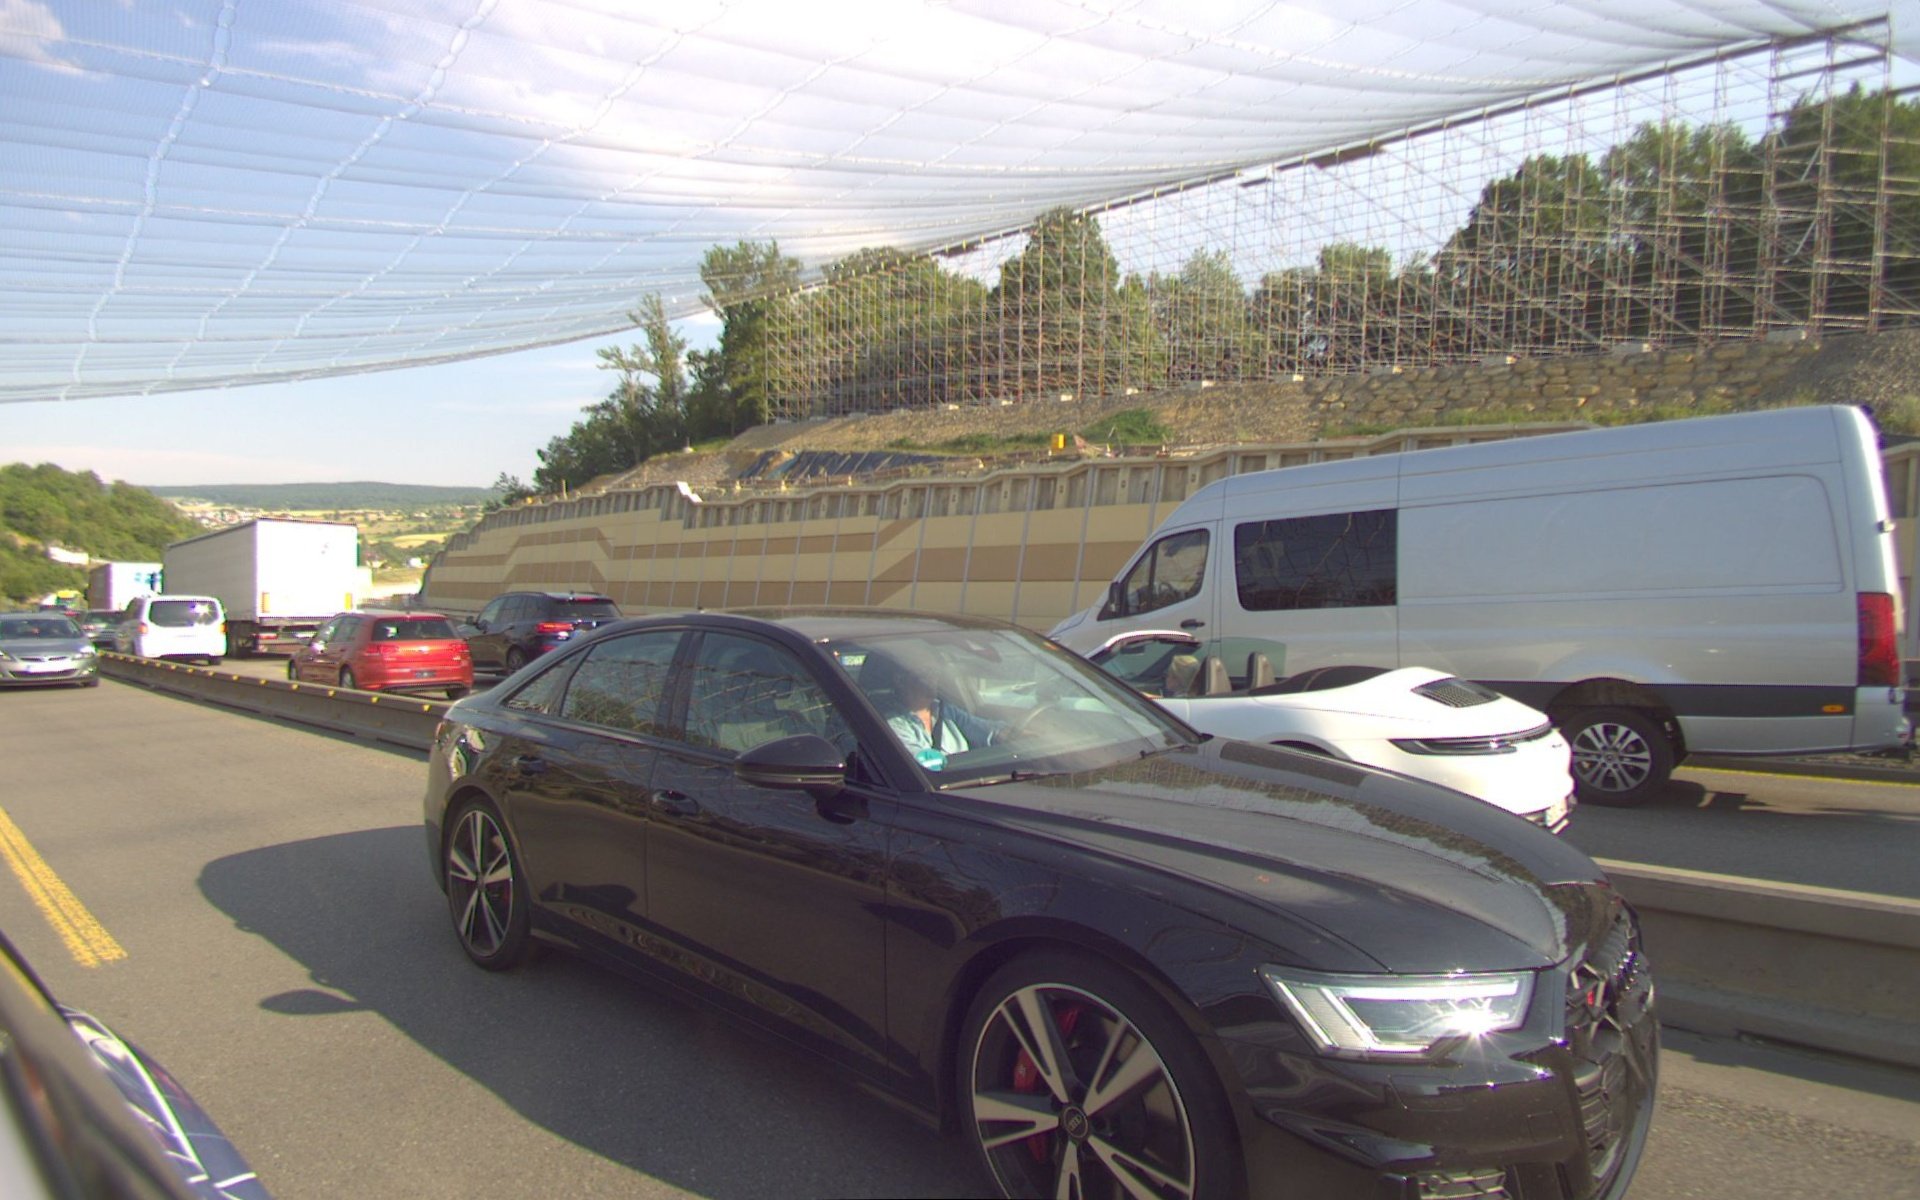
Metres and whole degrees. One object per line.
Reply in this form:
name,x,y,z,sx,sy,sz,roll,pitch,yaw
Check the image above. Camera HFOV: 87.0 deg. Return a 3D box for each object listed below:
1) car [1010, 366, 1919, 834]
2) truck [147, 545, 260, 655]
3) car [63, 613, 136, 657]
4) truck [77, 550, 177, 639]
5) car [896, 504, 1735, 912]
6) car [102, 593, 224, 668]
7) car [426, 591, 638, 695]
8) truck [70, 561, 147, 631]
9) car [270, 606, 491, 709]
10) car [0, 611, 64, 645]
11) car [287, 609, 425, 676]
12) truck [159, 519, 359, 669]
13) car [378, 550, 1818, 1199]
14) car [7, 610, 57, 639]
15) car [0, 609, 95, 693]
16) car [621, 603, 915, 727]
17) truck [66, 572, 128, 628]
car,3.910,0.020,8.830,7.077,2.733,2.218,-1,0,41
truck,-29.307,0.007,39.129,6.049,3.937,2.488,-1,0,43
car,-32.638,1.291,38.354,4.217,1.563,1.565,-1,0,42
truck,-49.236,-0.202,59.521,2.953,4.593,17.418,-1,0,-45
car,1.828,0.431,6.009,4.361,1.580,1.790,-1,0,39
car,-22.006,0.784,27.858,5.280,1.883,1.789,-1,0,42
car,-8.256,0.732,19.297,4.935,1.740,1.804,-1,0,42
truck,-62.563,-0.220,74.120,2.953,4.593,17.418,-1,0,-45
car,-9.544,0.843,16.511,4.516,1.430,1.789,-1,0,42
car,-44.869,1.320,48.882,4.645,1.546,1.913,-1,0,43
car,-15.890,1.045,26.514,4.908,1.552,1.773,-1,0,42
truck,-24.344,-0.125,34.604,14.169,4.259,2.692,-1,0,43
car,-0.157,0.670,3.680,4.959,1.409,1.914,-1,0,41
car,-52.948,1.368,57.720,1.912,1.530,4.981,-1,0,-45
car,-18.450,0.934,20.021,1.735,1.484,4.356,-1,0,-44
car,-2.813,0.794,14.189,4.380,1.448,1.773,-1,0,42
truck,-76.846,0.079,89.905,2.953,4.593,17.418,-1,0,-45
